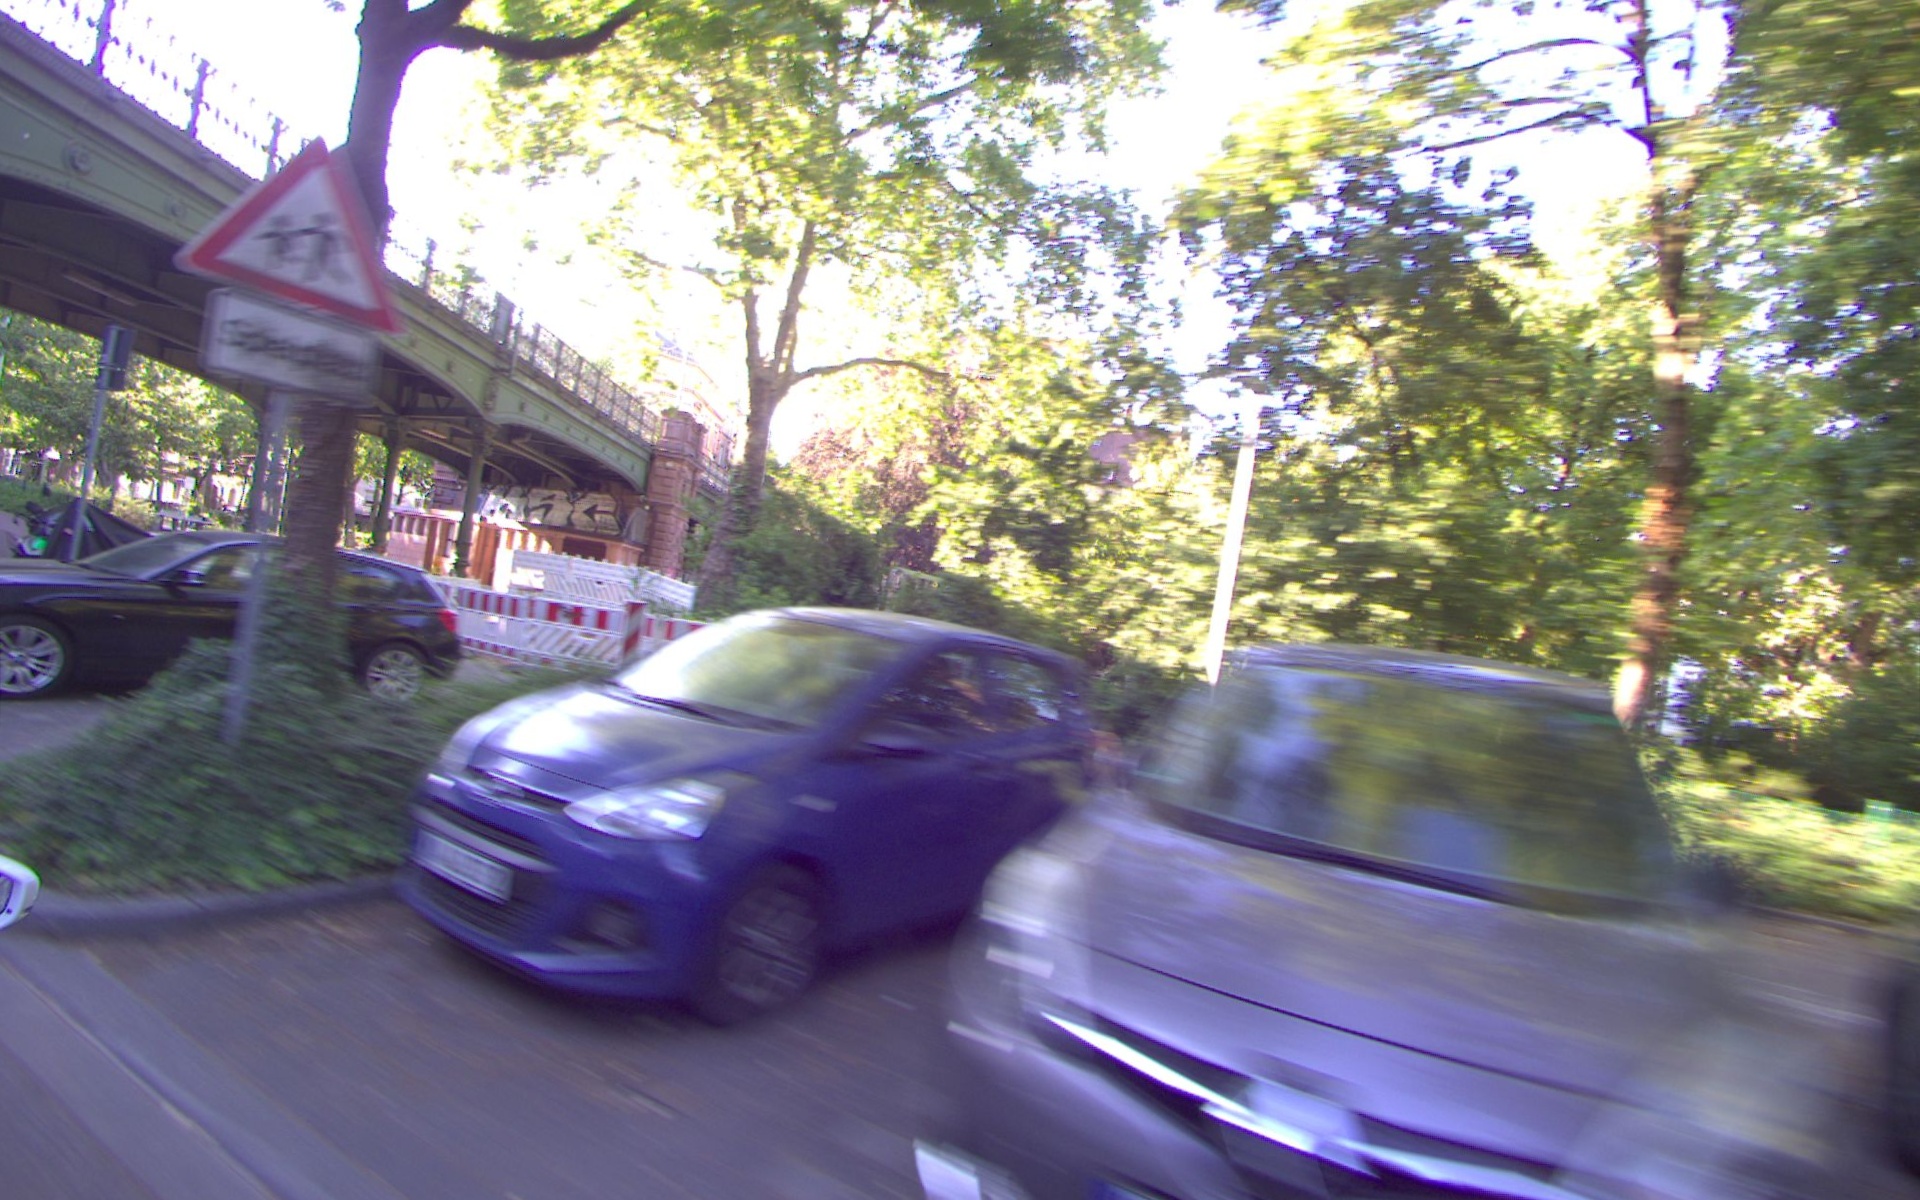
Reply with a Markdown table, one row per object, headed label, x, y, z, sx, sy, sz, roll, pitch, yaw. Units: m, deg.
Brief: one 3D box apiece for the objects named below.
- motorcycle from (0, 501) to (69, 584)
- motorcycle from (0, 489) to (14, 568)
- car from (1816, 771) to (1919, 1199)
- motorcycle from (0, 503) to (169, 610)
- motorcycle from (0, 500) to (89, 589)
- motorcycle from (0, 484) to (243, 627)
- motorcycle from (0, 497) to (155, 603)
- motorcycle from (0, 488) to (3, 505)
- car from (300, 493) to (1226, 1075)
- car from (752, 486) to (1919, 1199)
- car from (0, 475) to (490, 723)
| label | x | y | z | sx | sy | sz | roll | pitch | yaw |
| --- | --- | --- | --- | --- | --- | --- | --- | --- | --- |
| motorcycle | -14.911 | -0.958 | 15.438 | 0.699 | 1.144 | 1.608 | 7 | -4 | 17 |
| motorcycle | -17.965 | -1.404 | 17.769 | 1.593 | 1.423 | 0.706 | 11 | -4 | -36 |
| car | 3.571 | 1.324 | 2.153 | 1.845 | 1.549 | 4.387 | 6 | -4 | 32 |
| motorcycle | -10.773 | -0.497 | 12.226 | 0.797 | 1.041 | 1.728 | 8 | -3 | 0 |
| motorcycle | -13.981 | -0.877 | 14.562 | 0.834 | 1.144 | 1.841 | 8 | -4 | 11 |
| motorcycle | -9.376 | -0.436 | 11.316 | 0.887 | 1.251 | 1.940 | 8 | -3 | 9 |
| motorcycle | -11.927 | -0.638 | 13.495 | 0.699 | 1.144 | 1.728 | 8 | -3 | 0 |
| motorcycle | -17.419 | -1.375 | 16.970 | 1.593 | 1.423 | 0.706 | 11 | -4 | -36 |
| car | -0.406 | 0.738 | 5.192 | 1.708 | 1.623 | 4.590 | 6 | -3 | 37 |
| car | 1.516 | 0.997 | 3.487 | 1.874 | 1.726 | 4.389 | 7 | -4 | 29 |
| car | -6.629 | 0.062 | 8.624 | 1.647 | 1.594 | 4.387 | 6 | -4 | 32 |
